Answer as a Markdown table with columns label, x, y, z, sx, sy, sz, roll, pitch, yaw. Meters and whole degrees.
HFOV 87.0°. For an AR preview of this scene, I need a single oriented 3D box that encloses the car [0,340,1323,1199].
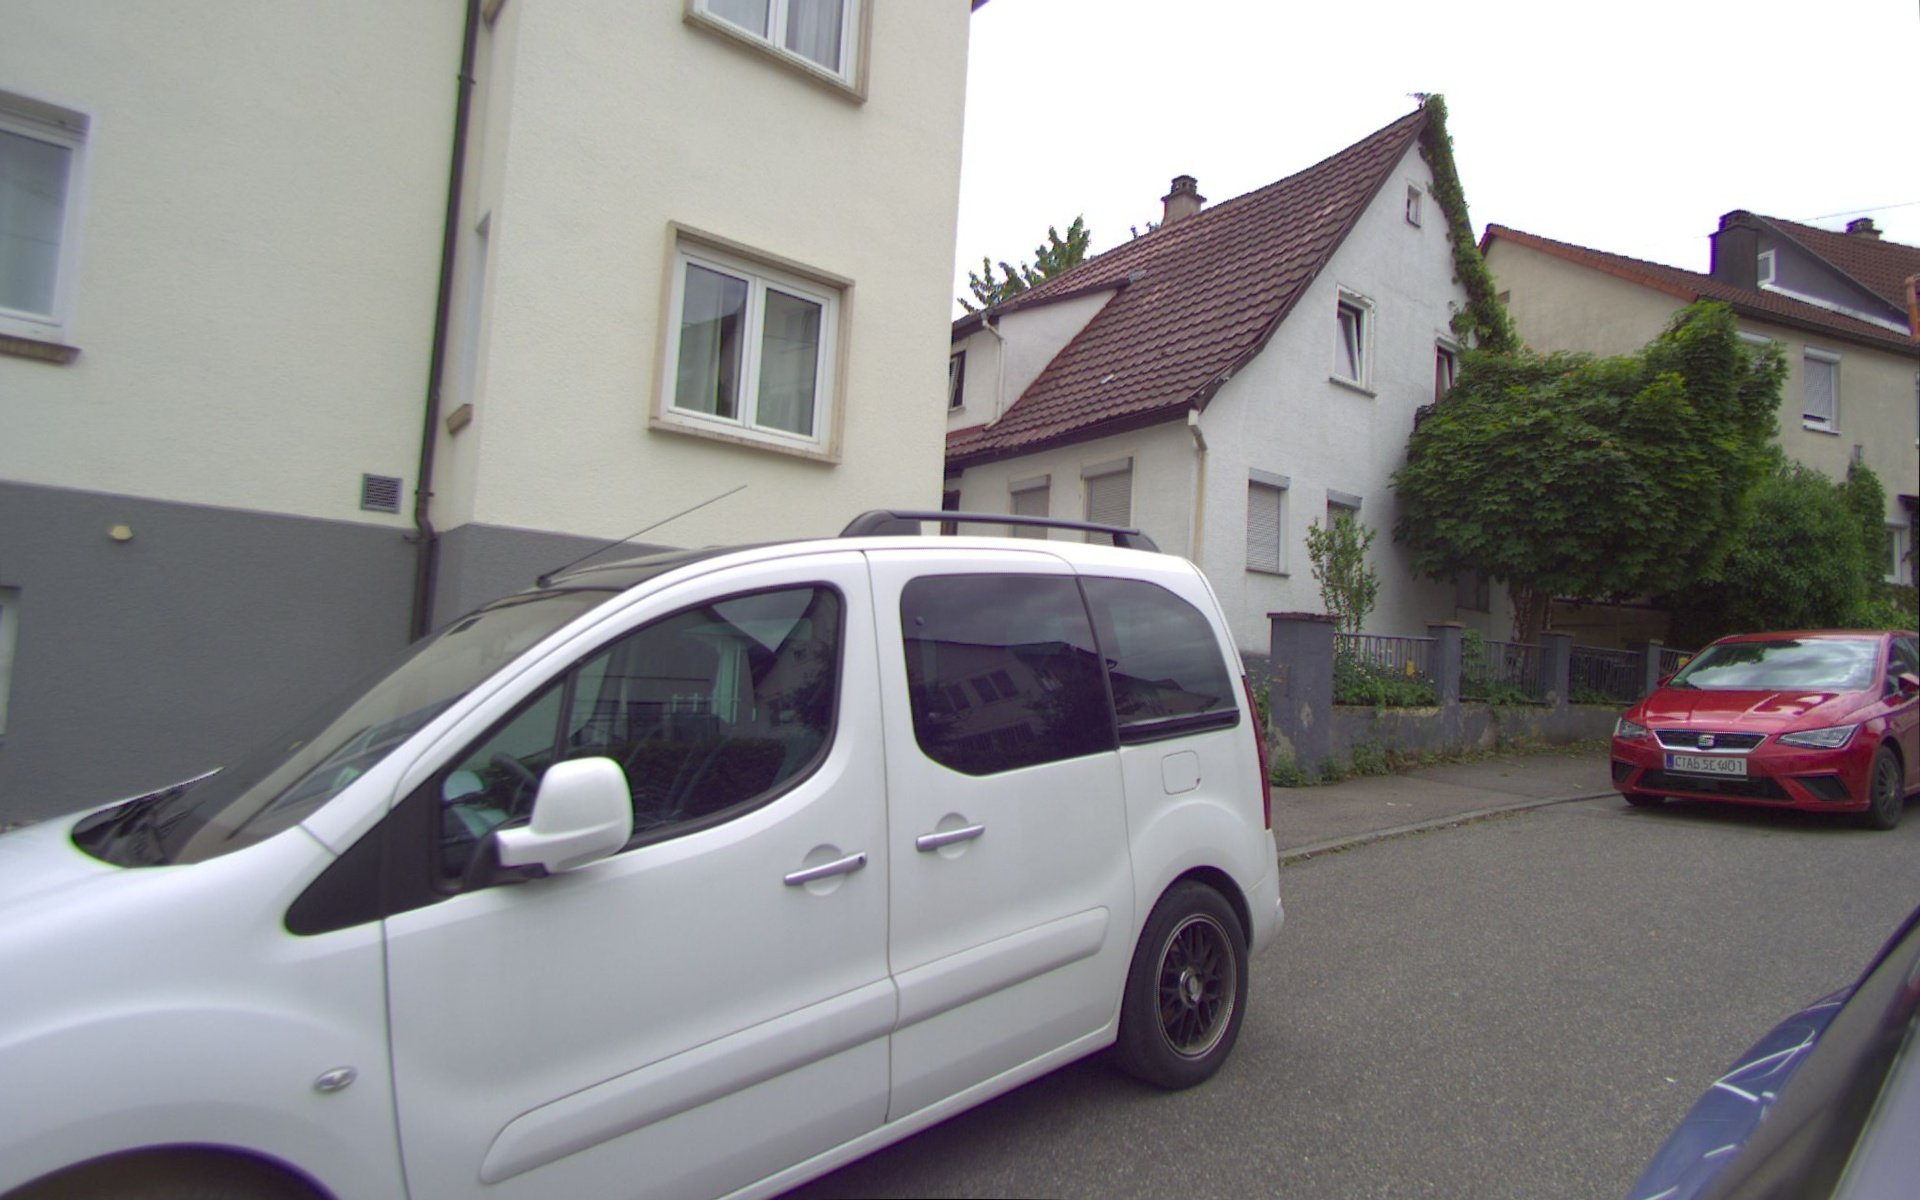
| label | x | y | z | sx | sy | sz | roll | pitch | yaw |
| --- | --- | --- | --- | --- | --- | --- | --- | --- | --- |
| car | -0.922 | 0.606 | 2.957 | 4.228 | 1.838 | 1.837 | 1 | -4 | -41 |

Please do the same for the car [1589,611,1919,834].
| label | x | y | z | sx | sy | sz | roll | pitch | yaw |
| --- | --- | --- | --- | --- | --- | --- | --- | --- | --- |
| car | 7.154 | 0.855 | 8.469 | 3.776 | 1.471 | 1.684 | 0 | -3 | -33 |

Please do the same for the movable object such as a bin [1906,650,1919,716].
| label | x | y | z | sx | sy | sz | roll | pitch | yaw |
| --- | --- | --- | --- | --- | --- | --- | --- | --- | --- |
| movable object such as a bin | 13.912 | 1.185 | 14.436 | 0.436 | 0.925 | 0.440 | -1 | 1 | -17 |

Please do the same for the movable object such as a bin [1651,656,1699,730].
| label | x | y | z | sx | sy | sz | roll | pitch | yaw |
| --- | --- | --- | --- | --- | --- | --- | --- | --- | --- |
| movable object such as a bin | 9.641 | 1.247 | 13.654 | 0.366 | 0.962 | 0.373 | 0 | -2 | -20 |
